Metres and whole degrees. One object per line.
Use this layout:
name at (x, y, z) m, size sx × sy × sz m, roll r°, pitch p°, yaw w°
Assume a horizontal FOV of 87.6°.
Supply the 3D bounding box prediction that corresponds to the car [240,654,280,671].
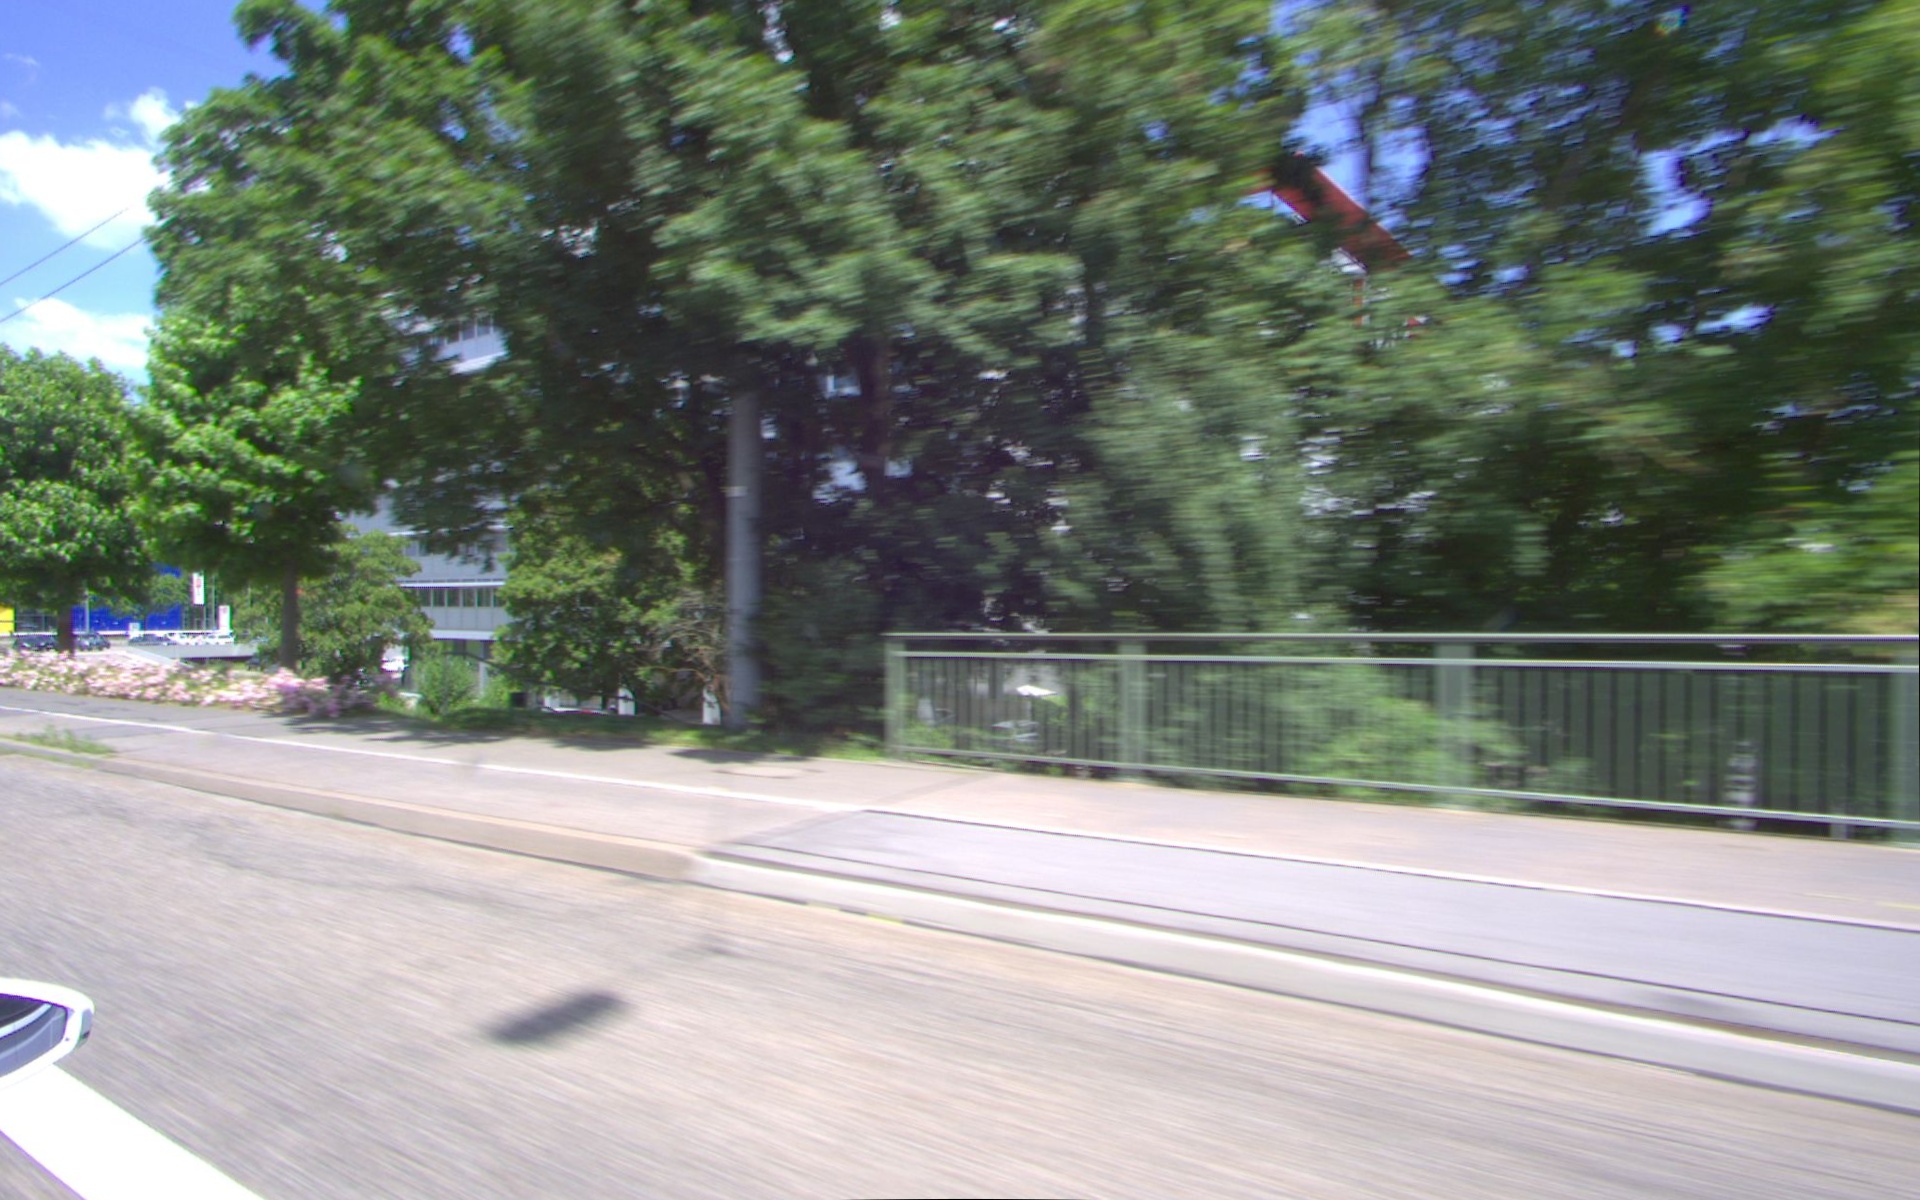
car at (-66.438, 5.920, 94.979) m, size 3.908 × 1.501 × 1.738 m, roll 0°, pitch -2°, yaw 33°

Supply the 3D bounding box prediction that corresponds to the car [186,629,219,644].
car at (-83.866, 4.031, 110.791) m, size 3.831 × 1.501 × 1.569 m, roll 0°, pitch -2°, yaw 31°

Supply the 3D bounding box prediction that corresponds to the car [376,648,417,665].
car at (-53.680, 5.332, 95.360) m, size 3.908 × 1.501 × 1.738 m, roll 0°, pitch -2°, yaw 33°

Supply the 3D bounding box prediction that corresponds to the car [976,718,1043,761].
car at (2.277, 6.221, 45.013) m, size 1.523 × 1.536 × 3.358 m, roll 0°, pitch -2°, yaw 33°

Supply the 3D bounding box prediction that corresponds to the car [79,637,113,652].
car at (-93.336, 4.829, 108.167) m, size 3.831 × 1.501 × 1.569 m, roll 0°, pitch -2°, yaw 31°

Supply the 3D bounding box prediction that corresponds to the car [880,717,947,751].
car at (-2.178, 6.390, 47.985) m, size 1.439 × 1.302 × 3.355 m, roll 0°, pitch -2°, yaw 36°

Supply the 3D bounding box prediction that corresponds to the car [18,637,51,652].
car at (-97.938, 4.708, 105.932) m, size 3.831 × 1.501 × 1.569 m, roll 0°, pitch -2°, yaw 31°
